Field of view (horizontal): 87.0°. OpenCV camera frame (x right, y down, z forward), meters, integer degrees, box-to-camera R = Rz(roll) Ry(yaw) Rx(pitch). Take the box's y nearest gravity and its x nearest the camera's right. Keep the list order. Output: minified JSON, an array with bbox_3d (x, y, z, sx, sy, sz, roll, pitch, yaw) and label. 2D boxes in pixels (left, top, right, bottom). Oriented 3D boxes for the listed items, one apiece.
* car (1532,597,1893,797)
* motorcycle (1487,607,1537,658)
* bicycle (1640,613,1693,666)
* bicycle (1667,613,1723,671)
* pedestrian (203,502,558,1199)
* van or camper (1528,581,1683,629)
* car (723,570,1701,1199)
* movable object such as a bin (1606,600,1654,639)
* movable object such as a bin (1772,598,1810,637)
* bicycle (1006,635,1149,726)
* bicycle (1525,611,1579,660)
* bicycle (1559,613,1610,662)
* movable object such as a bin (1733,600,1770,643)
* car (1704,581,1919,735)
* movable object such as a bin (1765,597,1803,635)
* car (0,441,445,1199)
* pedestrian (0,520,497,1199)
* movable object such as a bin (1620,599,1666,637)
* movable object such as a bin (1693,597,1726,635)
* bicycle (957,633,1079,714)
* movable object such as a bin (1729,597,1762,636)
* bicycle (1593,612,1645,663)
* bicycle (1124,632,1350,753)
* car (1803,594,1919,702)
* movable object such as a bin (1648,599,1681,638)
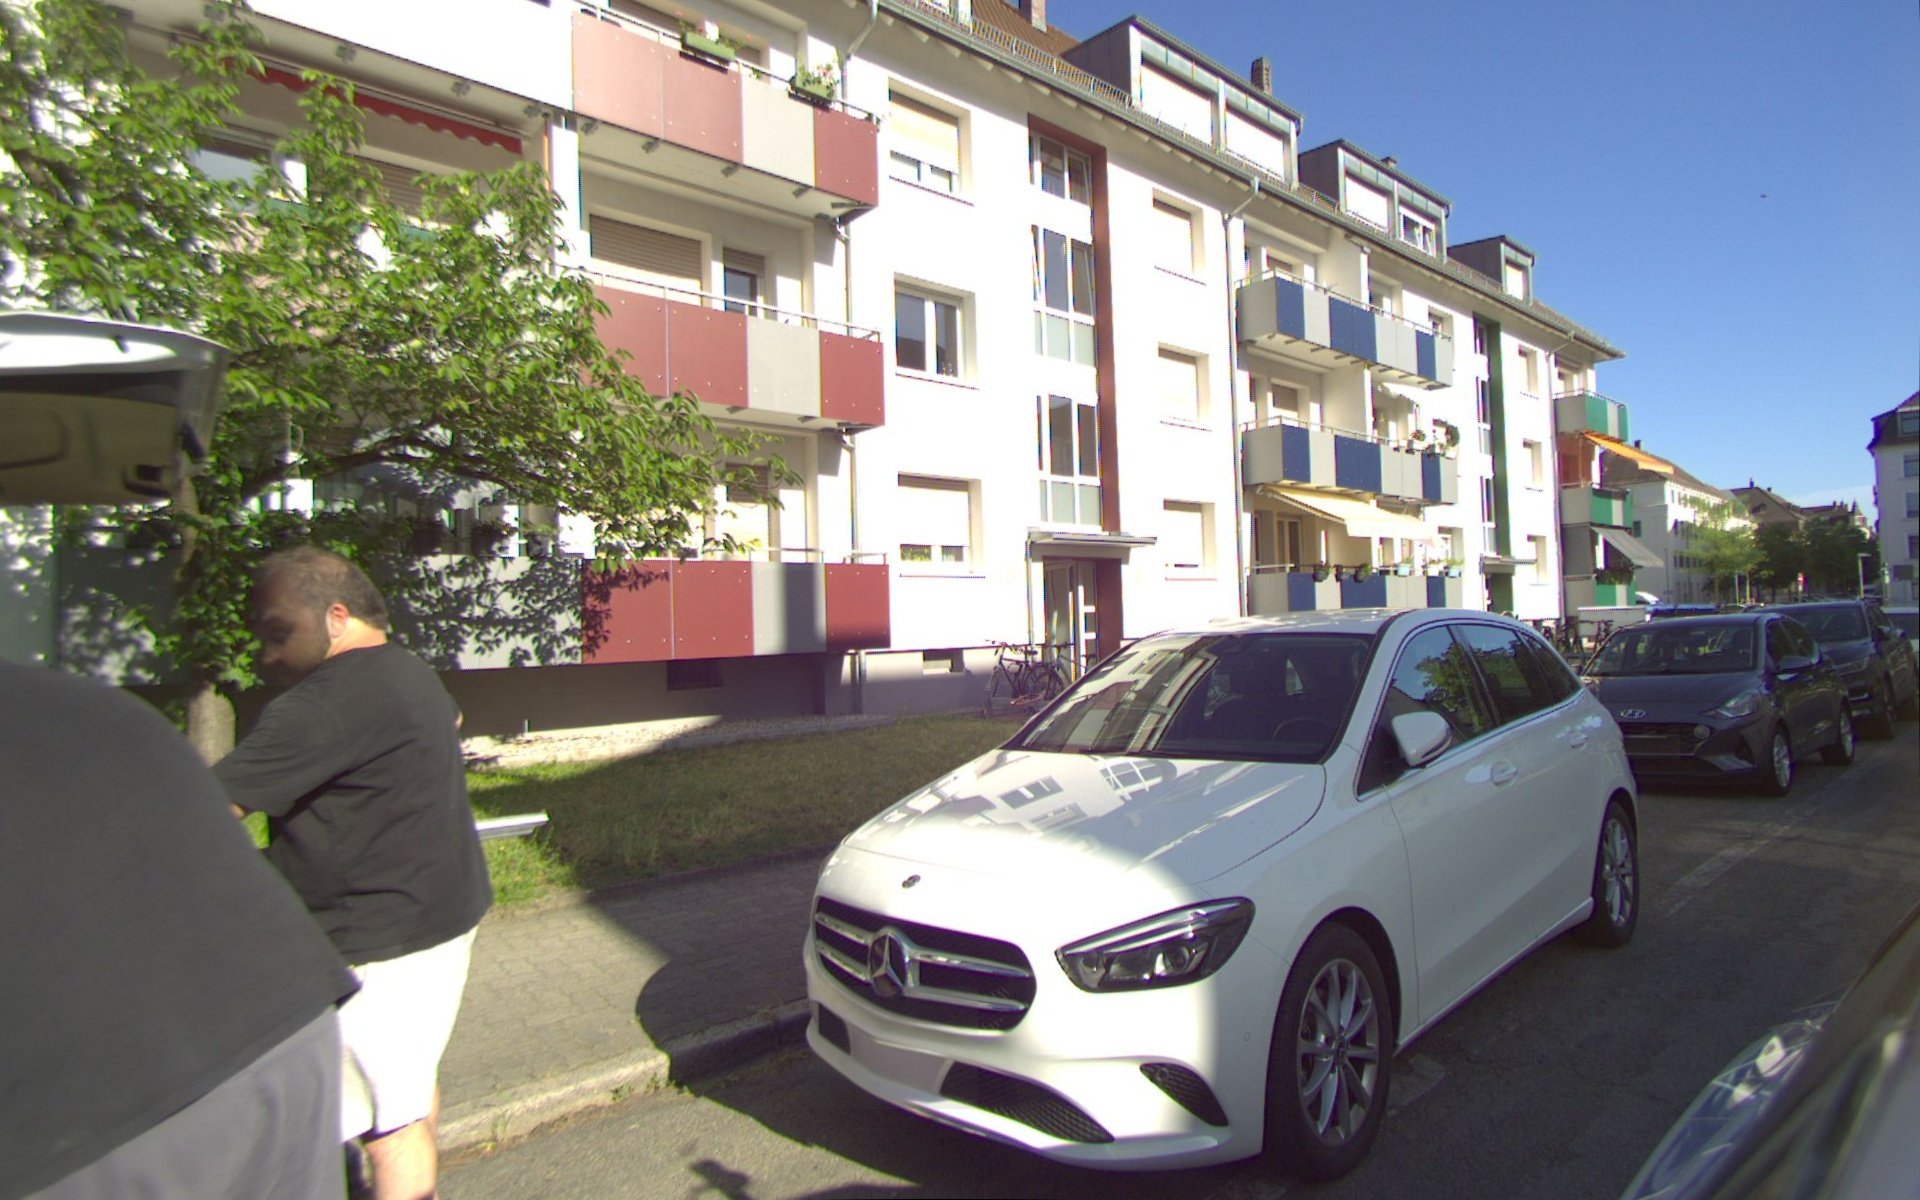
[{"bbox_3d":[7.153,0.778,9.490,3.987,1.468,1.650,-1,-4,-38],"label":"car"},{"bbox_3d":[14.042,0.812,25.735,1.942,1.254,0.442,0,-1,-41],"label":"motorcycle"},{"bbox_3d":[16.042,0.876,22.970,1.840,1.147,0.578,0,0,-42],"label":"bicycle"},{"bbox_3d":[15.946,0.889,21.942,1.839,1.185,0.545,0,0,-40],"label":"bicycle"},{"bbox_3d":[-1.403,0.672,2.421,0.594,1.709,0.821,0,-1,-41],"label":"pedestrian"},{"bbox_3d":[36.018,0.333,56.733,2.137,2.532,6.979,0,-1,-38],"label":"van or camper"},{"bbox_3d":[1.435,0.733,4.203,4.405,1.524,1.773,0,-3,-43],"label":"car"},{"bbox_3d":[25.883,0.756,39.097,1.257,1.466,1.237,0,-1,-43],"label":"movable object such as a bin"},{"bbox_3d":[30.544,0.629,37.192,0.852,1.416,0.920,0,-2,-42],"label":"movable object such as a bin"},{"bbox_3d":[1.609,1.034,13.561,2.248,1.062,0.521,0,0,-41],"label":"bicycle"},{"bbox_3d":[14.551,0.853,24.853,1.840,1.130,0.597,0,-1,-42],"label":"bicycle"},{"bbox_3d":[14.974,0.871,24.256,1.840,1.096,0.539,0,1,-42],"label":"bicycle"},{"bbox_3d":[27.392,0.735,35.018,0.907,1.466,0.864,0,-2,-45],"label":"movable object such as a bin"},{"bbox_3d":[10.885,0.610,12.608,4.278,1.598,1.725,0,-1,-42],"label":"car"},{"bbox_3d":[29.633,0.592,36.404,0.852,1.342,0.920,0,-2,-42],"label":"movable object such as a bin"},{"bbox_3d":[-3.173,0.719,0.522,4.905,1.634,1.997,0,-4,-39],"label":"car"},{"bbox_3d":[-1.151,0.723,1.277,0.864,1.595,0.740,0,-1,-41],"label":"pedestrian"},{"bbox_3d":[26.975,0.713,39.950,1.257,1.466,1.237,0,-1,-43],"label":"movable object such as a bin"},{"bbox_3d":[28.975,0.608,39.141,0.907,1.466,0.864,0,-1,-45],"label":"movable object such as a bin"},{"bbox_3d":[0.861,1.028,14.657,1.940,1.050,0.521,0,-1,-41],"label":"bicycle"},{"bbox_3d":[29.800,0.628,38.387,0.907,1.466,0.864,0,-1,-45],"label":"movable object such as a bin"},{"bbox_3d":[15.455,0.862,23.724,1.840,1.135,0.544,0,-1,-42],"label":"bicycle"},{"bbox_3d":[2.991,0.953,11.235,0.862,1.144,2.432,0,-1,-34],"label":"bicycle"},{"bbox_3d":[14.859,0.703,15.976,3.787,1.529,1.715,0,-5,-42],"label":"car"},{"bbox_3d":[28.112,0.724,40.361,0.906,1.539,0.865,0,-1,-42],"label":"movable object such as a bin"}]
